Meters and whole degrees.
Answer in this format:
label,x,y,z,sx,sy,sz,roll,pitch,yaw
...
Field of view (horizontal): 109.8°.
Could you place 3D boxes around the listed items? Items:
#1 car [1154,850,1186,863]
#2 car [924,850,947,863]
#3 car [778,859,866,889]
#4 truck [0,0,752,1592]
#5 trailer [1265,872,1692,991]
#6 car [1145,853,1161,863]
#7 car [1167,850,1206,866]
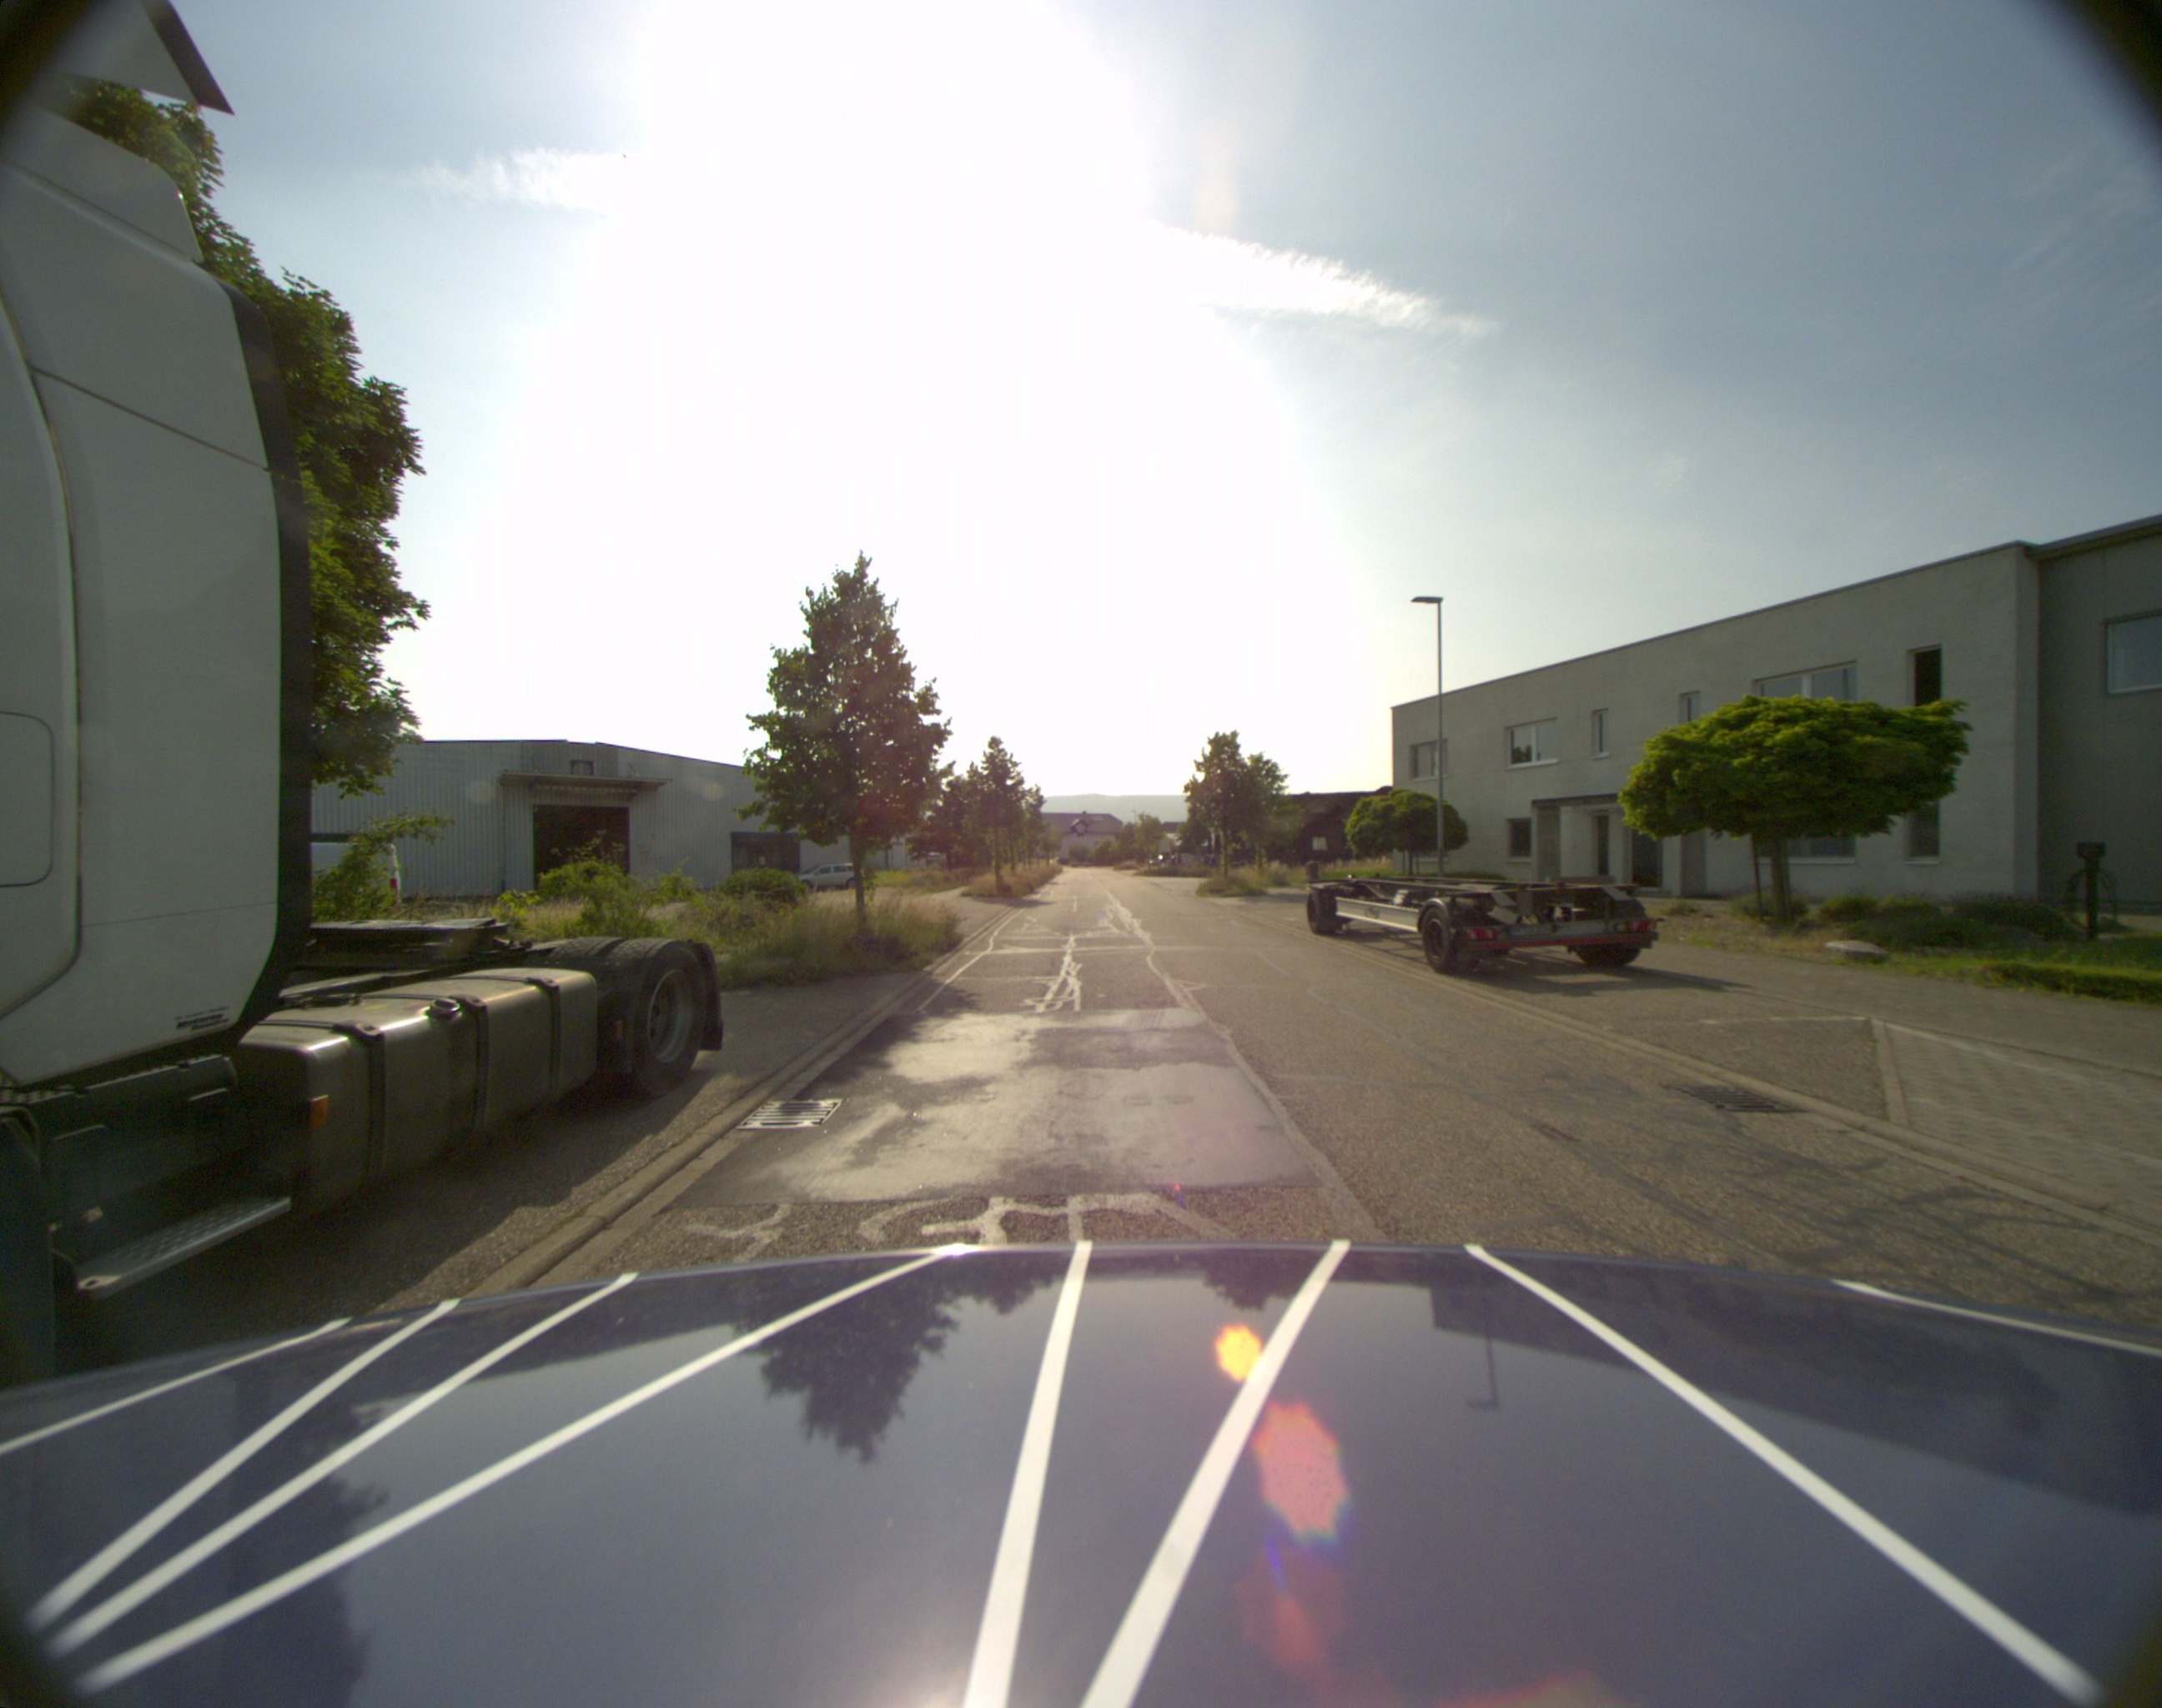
label,x,y,z,sx,sy,sz,roll,pitch,yaw
car,12.524,0.400,106.706,4.004,1.783,1.996,-1,0,-21
car,-20.031,0.366,104.749,1.598,1.672,3.761,-3,1,15
car,-14.612,1.092,42.953,4.369,1.554,1.753,0,3,-42
truck,-3.724,-0.368,2.508,2.699,3.941,6.046,2,0,-2
trailer,5.755,1.008,13.613,2.552,1.068,9.731,-2,0,0
car,10.969,0.563,115.748,1.615,1.472,3.548,-1,0,-7
car,11.598,0.433,83.798,3.997,1.718,2.000,-1,0,1
